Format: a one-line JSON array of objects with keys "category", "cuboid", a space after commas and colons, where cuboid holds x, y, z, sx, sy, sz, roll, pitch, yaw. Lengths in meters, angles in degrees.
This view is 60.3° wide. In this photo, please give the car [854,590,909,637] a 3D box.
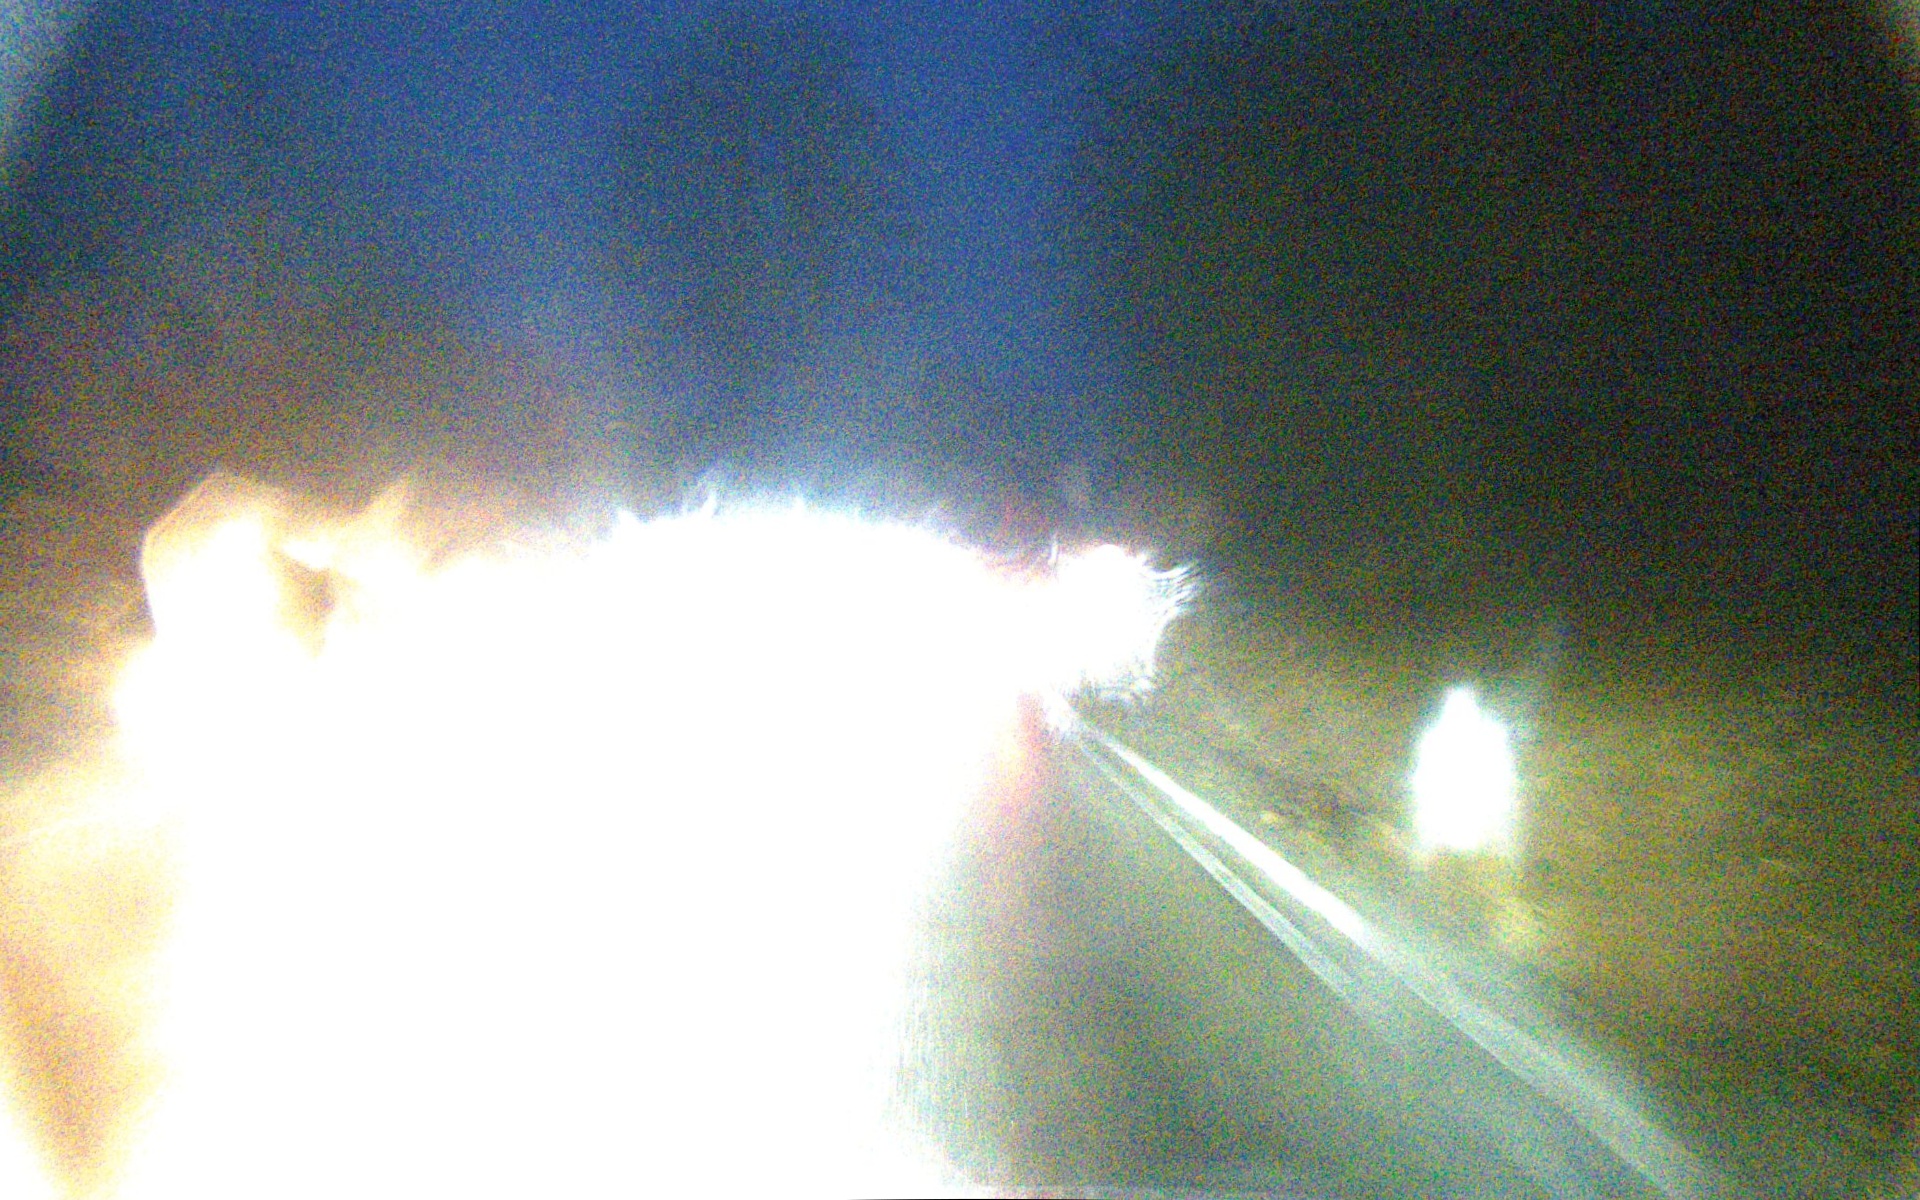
[{"category": "car", "cuboid": [-2.827, 0.468, 60.250, 1.729, 1.569, 4.148, 1, 1, 1]}]

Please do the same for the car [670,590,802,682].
[{"category": "car", "cuboid": [-3.938, 0.589, 29.746, 1.720, 1.430, 4.487, 2, 1, 0]}]

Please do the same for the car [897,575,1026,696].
[{"category": "car", "cuboid": [0.024, 0.542, 27.255, 1.953, 1.838, 3.917, 0, 0, 0]}]

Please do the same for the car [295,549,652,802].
[{"category": "car", "cuboid": [-3.413, 0.462, 12.265, 1.629, 1.587, 3.560, 0, 0, -1]}]
